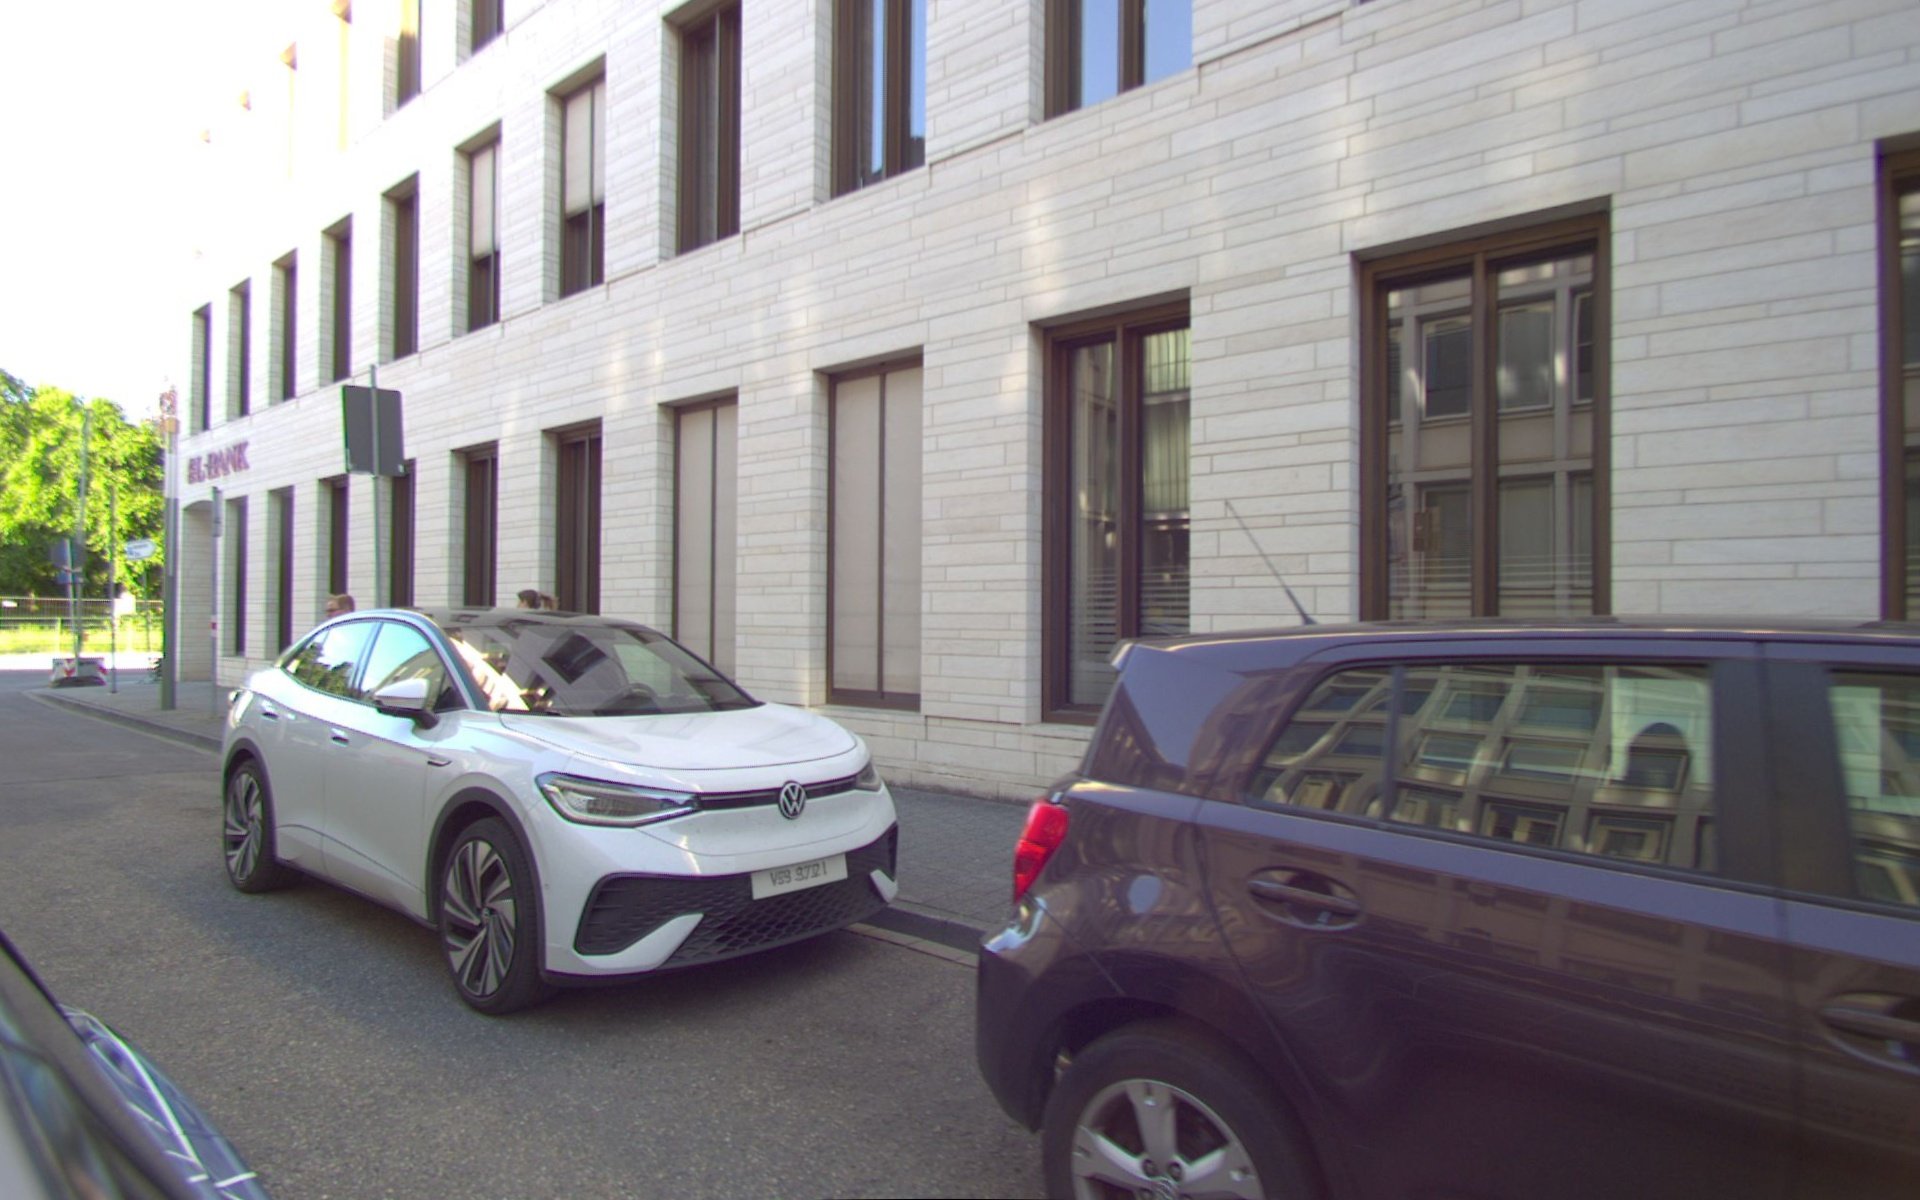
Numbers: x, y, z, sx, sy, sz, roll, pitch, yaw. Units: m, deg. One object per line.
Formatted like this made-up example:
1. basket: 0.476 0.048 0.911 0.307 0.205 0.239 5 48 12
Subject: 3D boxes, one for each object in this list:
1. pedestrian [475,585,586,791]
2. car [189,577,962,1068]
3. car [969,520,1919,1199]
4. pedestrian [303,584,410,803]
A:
1. pedestrian: -3.974 0.774 9.370 0.816 1.803 0.637 0 0 39
2. car: -2.278 0.784 5.341 4.441 1.553 1.804 -1 -3 39
3. car: 2.243 0.675 1.672 4.258 1.553 1.805 -1 -2 38
4. pedestrian: -5.228 0.772 8.777 0.575 1.803 0.635 0 0 39
